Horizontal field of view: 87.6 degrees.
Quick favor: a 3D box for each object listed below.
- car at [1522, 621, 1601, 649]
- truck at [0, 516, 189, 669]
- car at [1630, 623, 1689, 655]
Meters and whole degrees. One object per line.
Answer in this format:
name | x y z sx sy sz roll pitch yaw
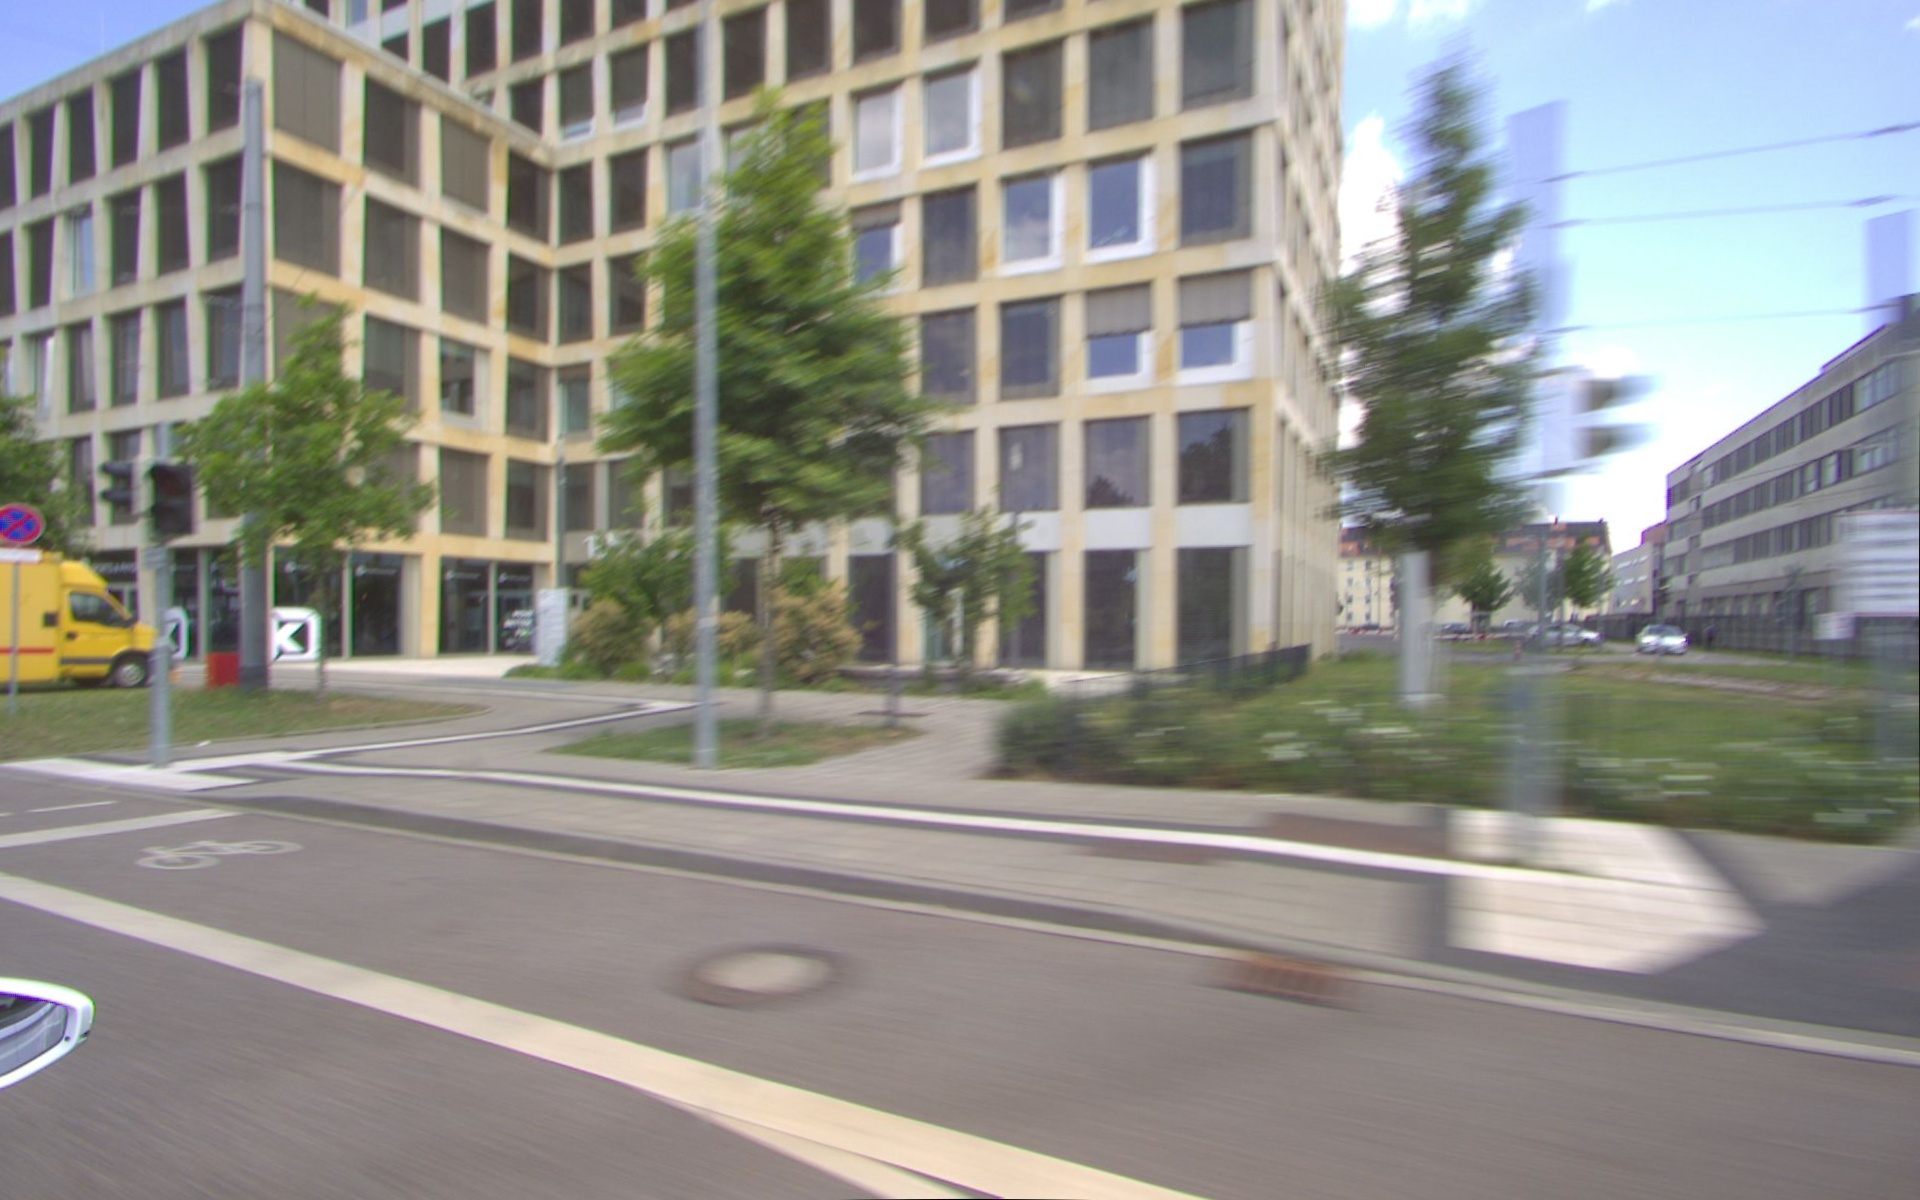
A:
car | 36.373 2.137 60.660 3.970 1.587 1.801 -2 -2 28
truck | -19.379 -0.107 19.323 2.414 2.904 6.810 -2 -2 24
car | 36.378 2.036 52.156 1.779 1.587 4.020 -2 -2 25
